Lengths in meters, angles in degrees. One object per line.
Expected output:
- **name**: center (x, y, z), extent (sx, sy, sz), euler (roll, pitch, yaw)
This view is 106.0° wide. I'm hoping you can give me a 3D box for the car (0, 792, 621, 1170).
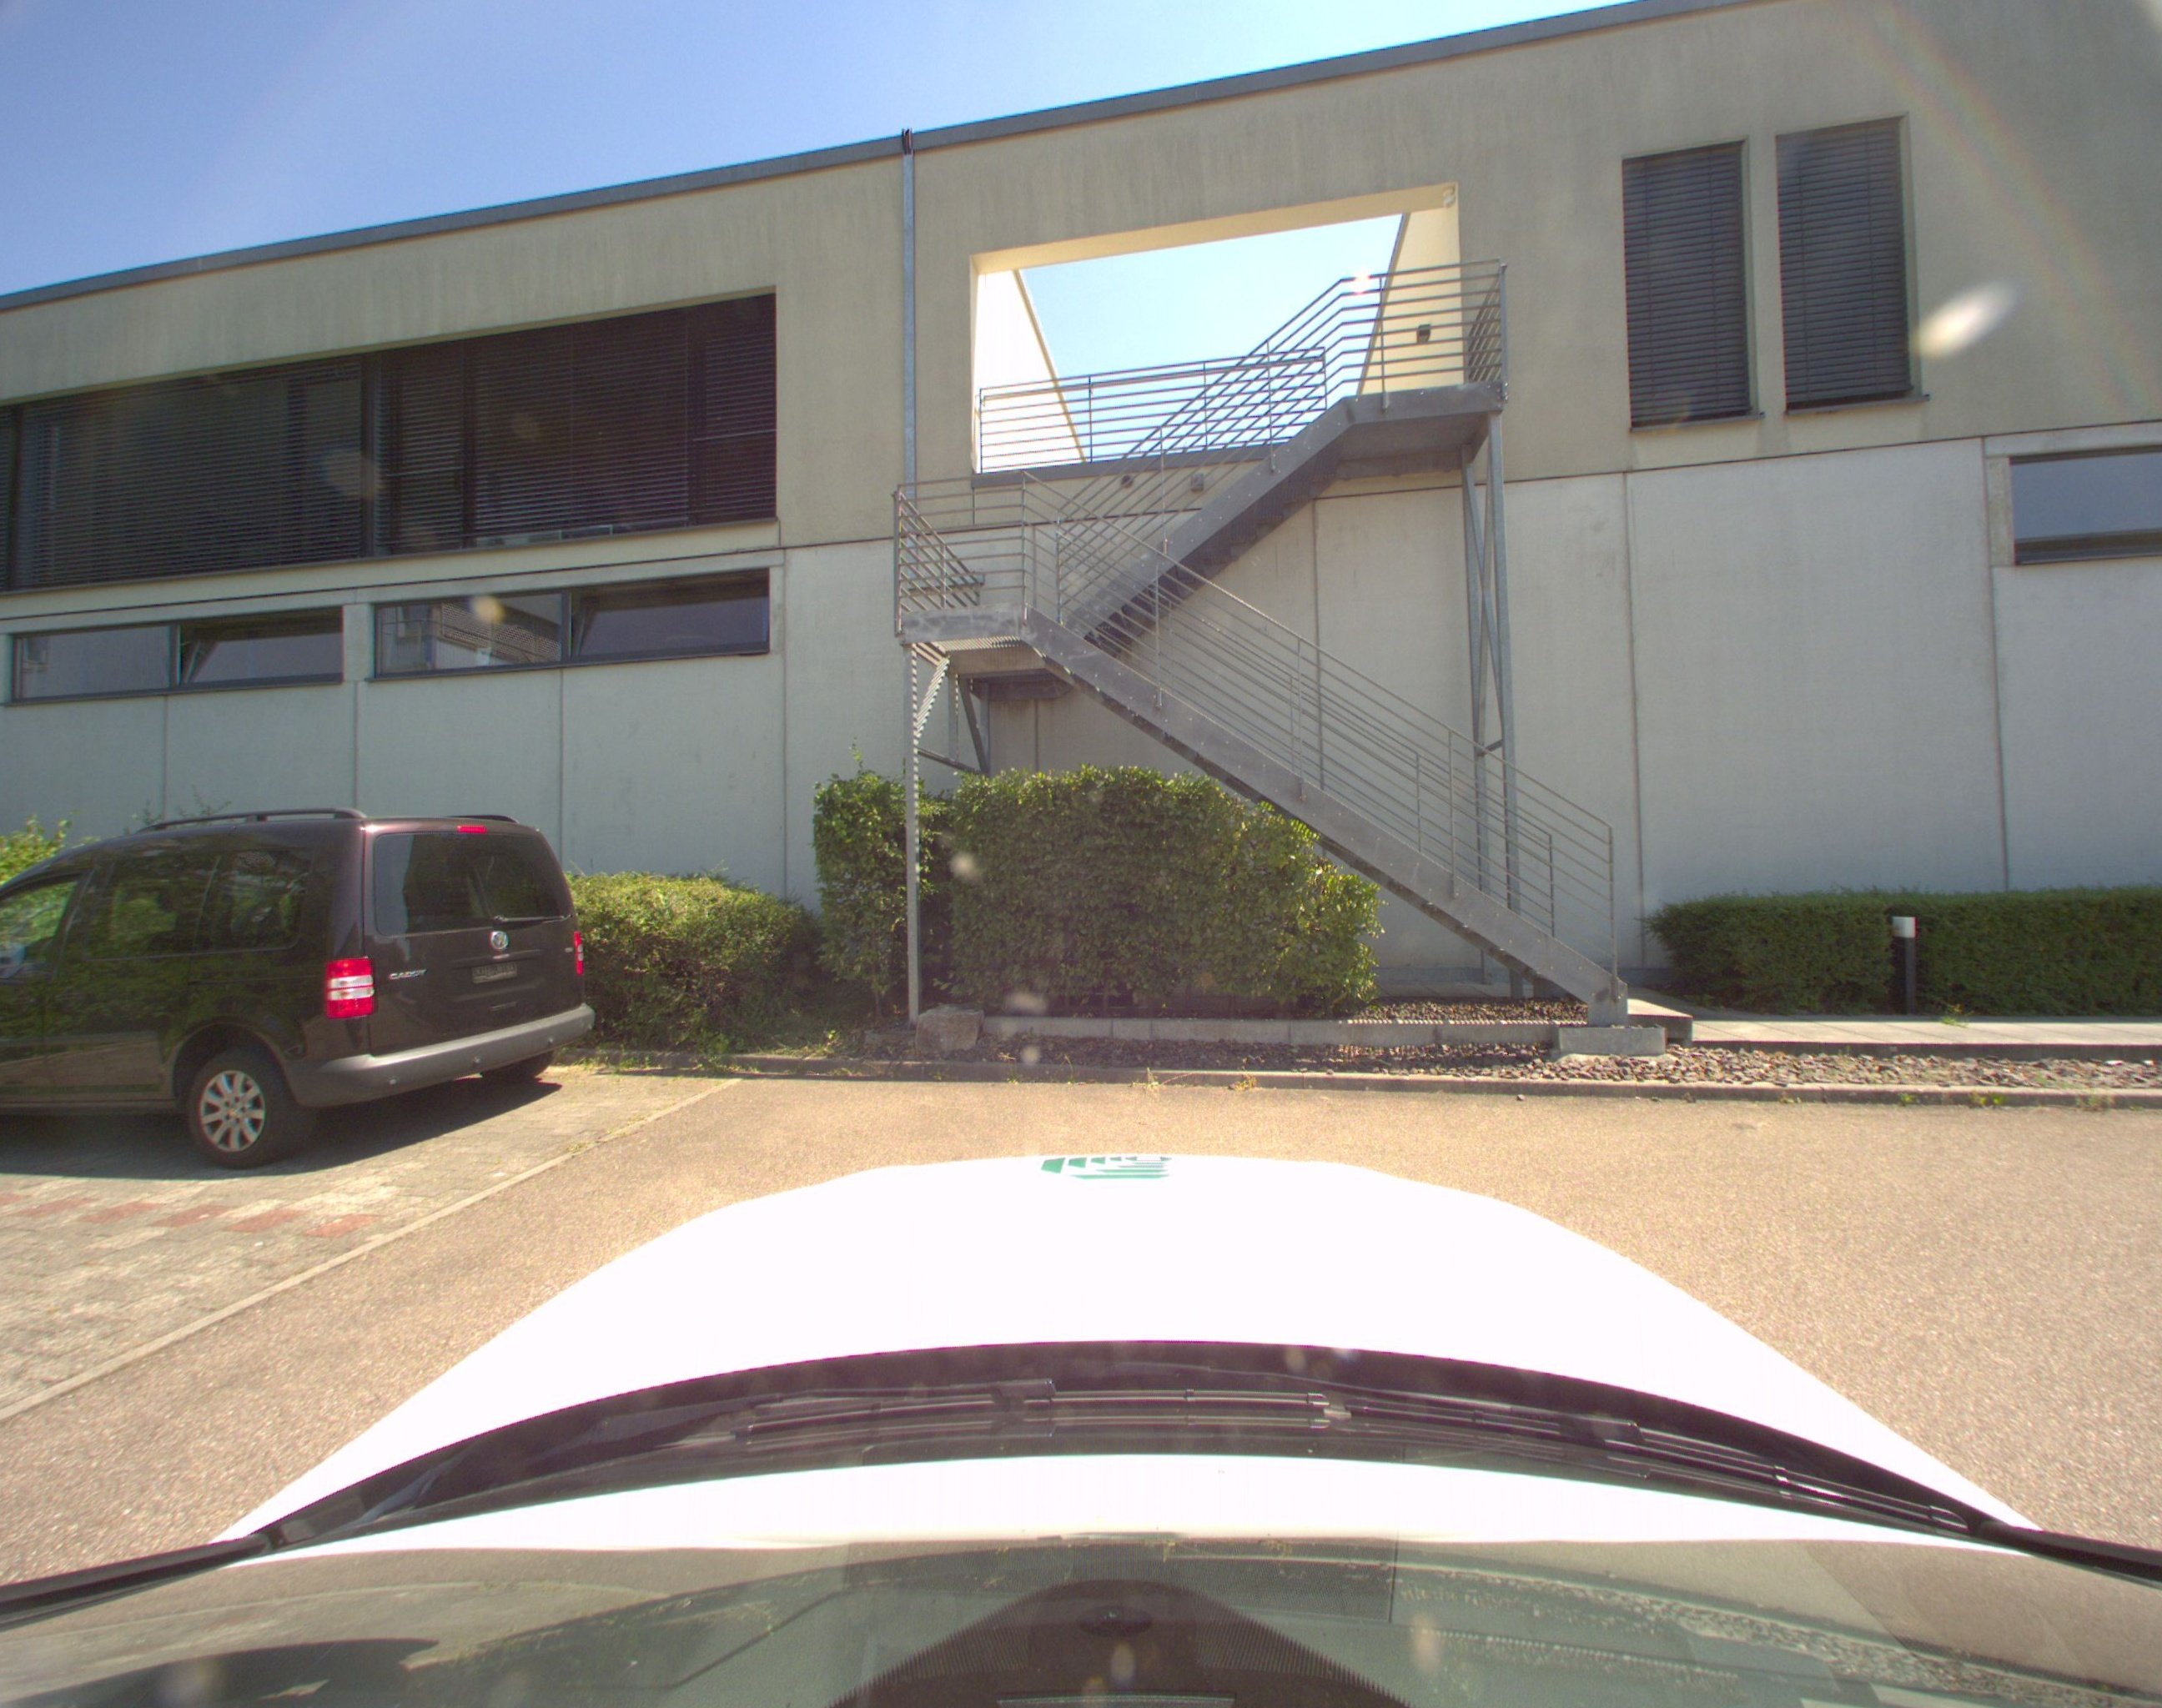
- **car**: center (-5.384, 0.676, 5.253), extent (4.032, 1.884, 1.684), euler (-1, -1, 10)
